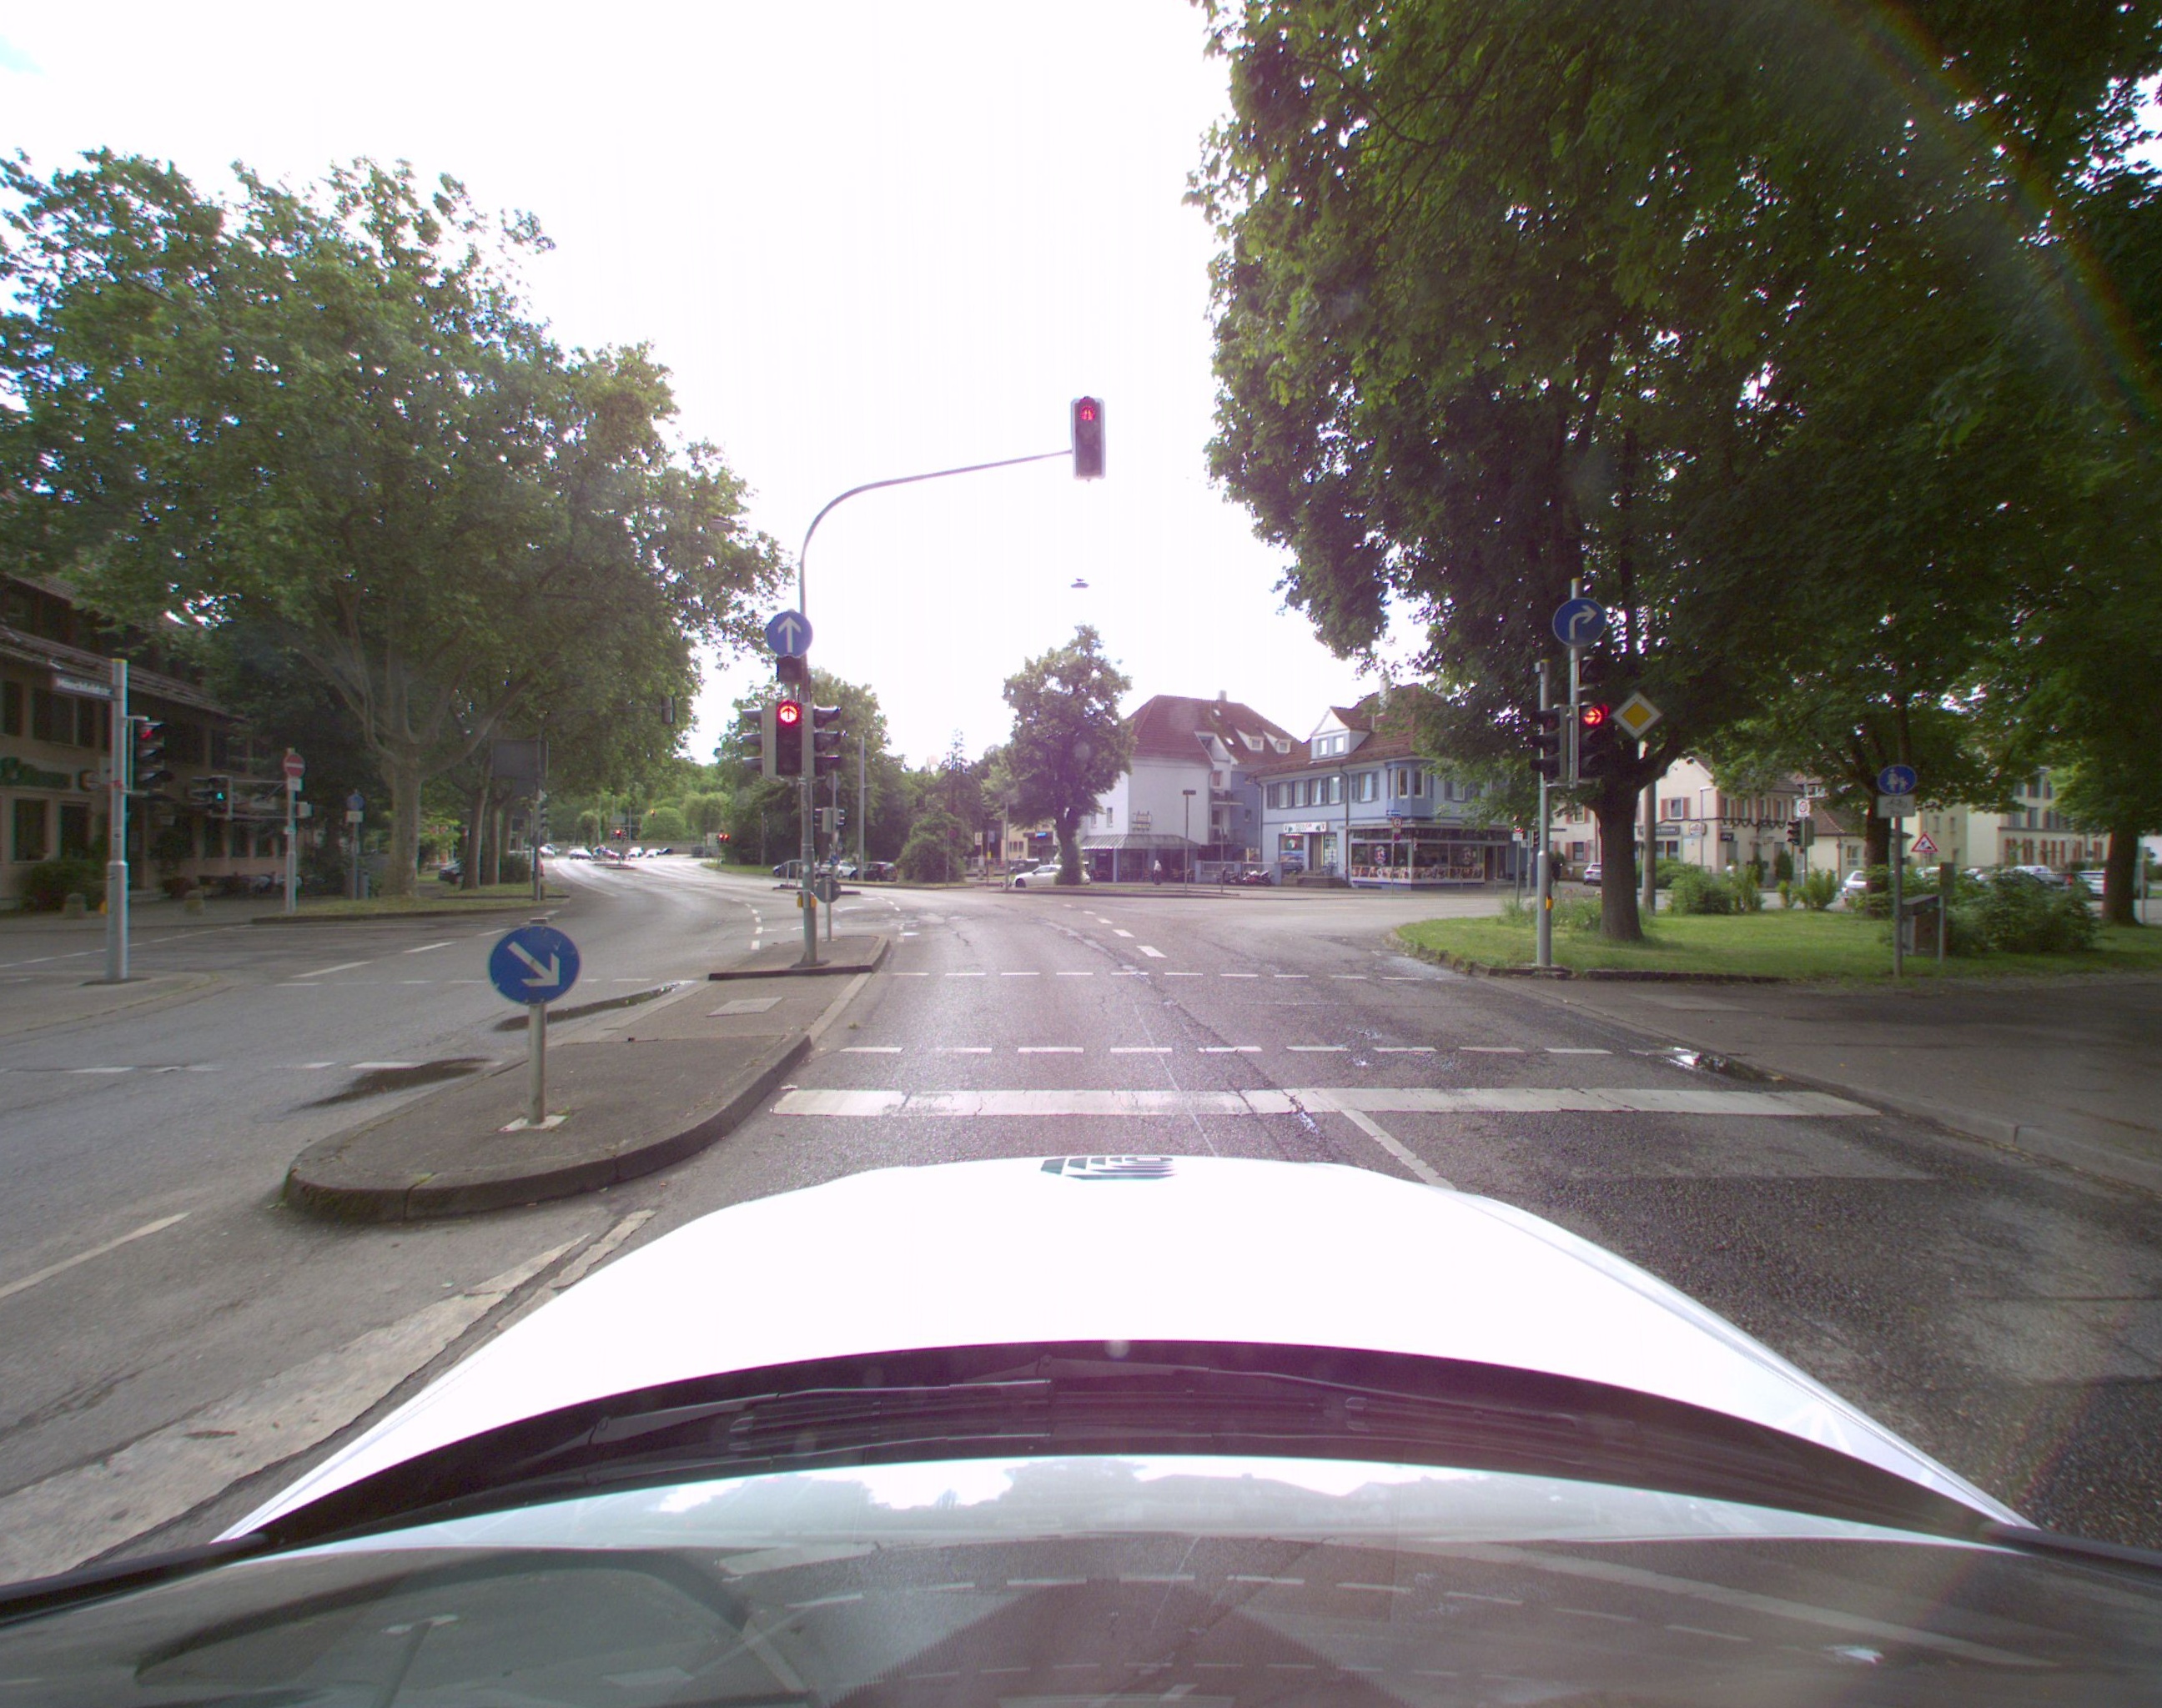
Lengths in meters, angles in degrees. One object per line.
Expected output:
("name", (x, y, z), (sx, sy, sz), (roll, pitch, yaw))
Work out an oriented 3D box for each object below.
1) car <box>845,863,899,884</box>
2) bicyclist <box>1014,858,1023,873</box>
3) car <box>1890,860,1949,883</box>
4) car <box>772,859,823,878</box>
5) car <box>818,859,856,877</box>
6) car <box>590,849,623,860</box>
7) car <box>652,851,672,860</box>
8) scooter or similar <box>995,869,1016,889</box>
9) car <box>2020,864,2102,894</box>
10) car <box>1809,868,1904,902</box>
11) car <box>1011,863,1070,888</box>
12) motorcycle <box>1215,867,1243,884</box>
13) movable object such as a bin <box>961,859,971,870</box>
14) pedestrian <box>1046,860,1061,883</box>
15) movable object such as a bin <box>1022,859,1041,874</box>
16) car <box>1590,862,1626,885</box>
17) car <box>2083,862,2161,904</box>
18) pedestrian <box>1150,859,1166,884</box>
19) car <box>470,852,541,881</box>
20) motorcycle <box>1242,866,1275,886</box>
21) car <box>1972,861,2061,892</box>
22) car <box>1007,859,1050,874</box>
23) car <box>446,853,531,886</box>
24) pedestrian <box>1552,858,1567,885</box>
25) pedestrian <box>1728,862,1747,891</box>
("car", (-13.907, 1.270, 54.207), (3.549, 1.394, 1.481), (0, -1, 34))
("bicyclist", (-6.426, 1.183, 83.537), (0.730, 1.541, 0.604), (-1, -1, 35))
("car", (55.116, 1.131, 53.527), (4.007, 1.420, 1.544), (0, 0, -26))
("car", (-22.438, 1.118, 64.487), (3.520, 1.464, 1.591), (0, 0, 14))
("car", (-20.079, 1.134, 67.189), (1.534, 1.464, 3.407), (0, 0, 13))
("car", (-72.677, 0.074, 124.882), (3.997, 1.783, 1.988), (0, 0, -18))
("car", (-95.489, 0.437, 185.610), (4.011, 2.014, 1.981), (0, -1, -29))
("scooter or similar", (-3.978, 1.294, 42.883), (0.413, 1.011, 1.575), (-1, -1, 22))
("car", (47.002, 1.171, 39.056), (3.511, 1.321, 1.549), (0, 0, -22))
("car", (31.961, 1.256, 33.567), (3.511, 1.321, 1.549), (0, 0, -22))
("car", (-2.309, 1.206, 46.239), (3.134, 1.354, 1.448), (0, -1, 36))
("motorcycle", (9.113, 1.317, 50.078), (0.699, 1.064, 1.617), (0, -1, -44))
("movable object such as a bin", (-12.219, 1.123, 86.641), (0.953, 1.115, 0.381), (0, -1, -19))
("pedestrian", (-1.894, 1.200, 55.994), (0.699, 1.545, 0.682), (-1, -1, 42))
("movable object such as a bin", (-4.522, 1.137, 74.250), (1.447, 1.409, 0.959), (0, -1, -25))
("car", (32.602, 1.188, 50.339), (1.481, 1.369, 3.198), (-1, -1, 40))
("car", (52.830, 1.439, 41.123), (4.004, 2.014, 1.770), (0, -1, -23))
("pedestrian", (4.893, 1.113, 51.596), (0.759, 1.545, 0.682), (-1, -1, 41))
("car", (-35.484, 0.760, 50.286), (3.461, 1.742, 1.557), (0, -1, -31))
("motorcycle", (10.534, 1.291, 48.263), (1.777, 1.121, 0.699), (0, -1, 40))
("car", (42.215, 0.980, 36.750), (3.510, 1.321, 1.549), (0, 0, -21))
("car", (-4.880, 1.138, 76.157), (3.752, 1.345, 1.422), (0, 0, -25))
("car", (-31.002, 0.788, 42.720), (3.461, 1.641, 1.557), (0, -1, -31))
("pedestrian", (27.404, 0.995, 46.653), (0.459, 1.517, 0.584), (0, -1, -18))
("pedestrian", (37.186, 1.268, 46.129), (0.611, 1.649, 0.606), (0, -1, -27))
